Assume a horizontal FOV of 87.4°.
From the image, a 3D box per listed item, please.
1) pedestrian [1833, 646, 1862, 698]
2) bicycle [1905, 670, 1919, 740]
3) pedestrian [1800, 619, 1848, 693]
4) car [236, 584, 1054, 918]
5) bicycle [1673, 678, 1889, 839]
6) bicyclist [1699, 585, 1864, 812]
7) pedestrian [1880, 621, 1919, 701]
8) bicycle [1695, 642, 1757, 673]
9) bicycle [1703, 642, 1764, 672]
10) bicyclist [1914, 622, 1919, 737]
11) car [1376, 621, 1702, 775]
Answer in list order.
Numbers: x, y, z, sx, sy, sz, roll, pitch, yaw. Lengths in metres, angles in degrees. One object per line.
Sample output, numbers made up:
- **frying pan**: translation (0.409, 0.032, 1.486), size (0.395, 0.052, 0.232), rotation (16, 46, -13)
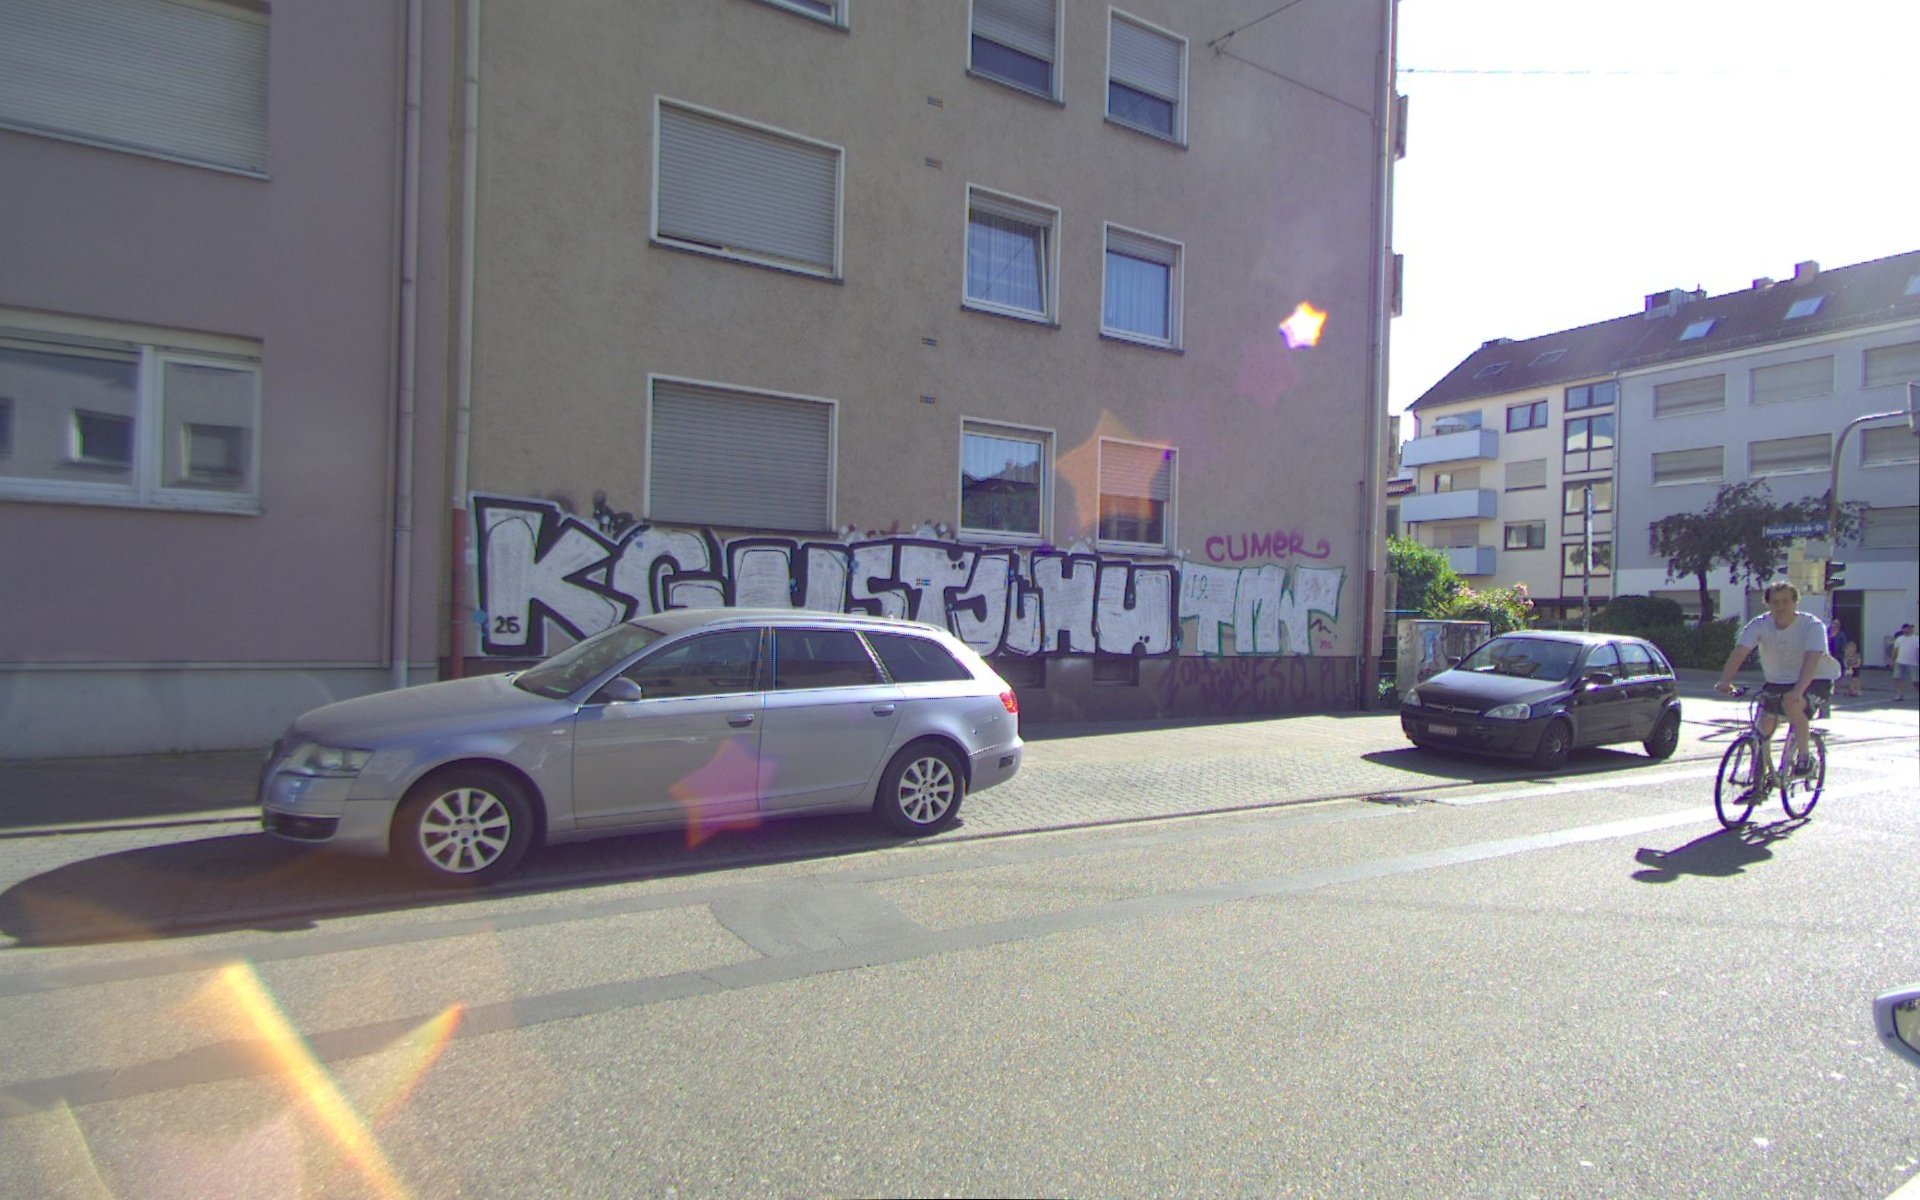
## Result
- **pedestrian**: translation (20.417, 1.643, 23.106), size (0.526, 1.161, 0.383), rotation (1, 0, -34)
- **bicycle**: translation (14.416, 1.504, 14.455), size (1.911, 0.964, 0.676), rotation (2, -2, -30)
- **pedestrian**: translation (20.430, 1.319, 23.748), size (0.957, 1.705, 0.570), rotation (1, 0, -30)
- **car**: translation (-1.829, 0.756, 6.744), size (4.748, 1.523, 1.813), rotation (2, 2, -32)
- **bicycle**: translation (6.431, 1.172, 7.844), size (1.850, 1.078, 0.713), rotation (2, -1, -30)
- **bicyclist**: translation (6.394, 0.729, 7.825), size (0.935, 1.641, 0.713), rotation (2, -1, -30)
- **pedestrian**: translation (20.660, 1.317, 21.975), size (0.660, 1.711, 0.571), rotation (1, 0, -24)
- **bicycle**: translation (25.846, 1.928, 33.913), size (0.506, 0.952, 1.583), rotation (1, -1, -27)
- **bicycle**: translation (26.356, 1.947, 34.255), size (0.506, 0.952, 1.583), rotation (1, -1, -27)
- **bicyclist**: translation (14.353, 1.148, 14.439), size (0.888, 1.652, 0.676), rotation (1, -2, -30)
- **car**: translation (6.868, 1.049, 11.845), size (3.813, 1.467, 1.682), rotation (2, 2, -32)
